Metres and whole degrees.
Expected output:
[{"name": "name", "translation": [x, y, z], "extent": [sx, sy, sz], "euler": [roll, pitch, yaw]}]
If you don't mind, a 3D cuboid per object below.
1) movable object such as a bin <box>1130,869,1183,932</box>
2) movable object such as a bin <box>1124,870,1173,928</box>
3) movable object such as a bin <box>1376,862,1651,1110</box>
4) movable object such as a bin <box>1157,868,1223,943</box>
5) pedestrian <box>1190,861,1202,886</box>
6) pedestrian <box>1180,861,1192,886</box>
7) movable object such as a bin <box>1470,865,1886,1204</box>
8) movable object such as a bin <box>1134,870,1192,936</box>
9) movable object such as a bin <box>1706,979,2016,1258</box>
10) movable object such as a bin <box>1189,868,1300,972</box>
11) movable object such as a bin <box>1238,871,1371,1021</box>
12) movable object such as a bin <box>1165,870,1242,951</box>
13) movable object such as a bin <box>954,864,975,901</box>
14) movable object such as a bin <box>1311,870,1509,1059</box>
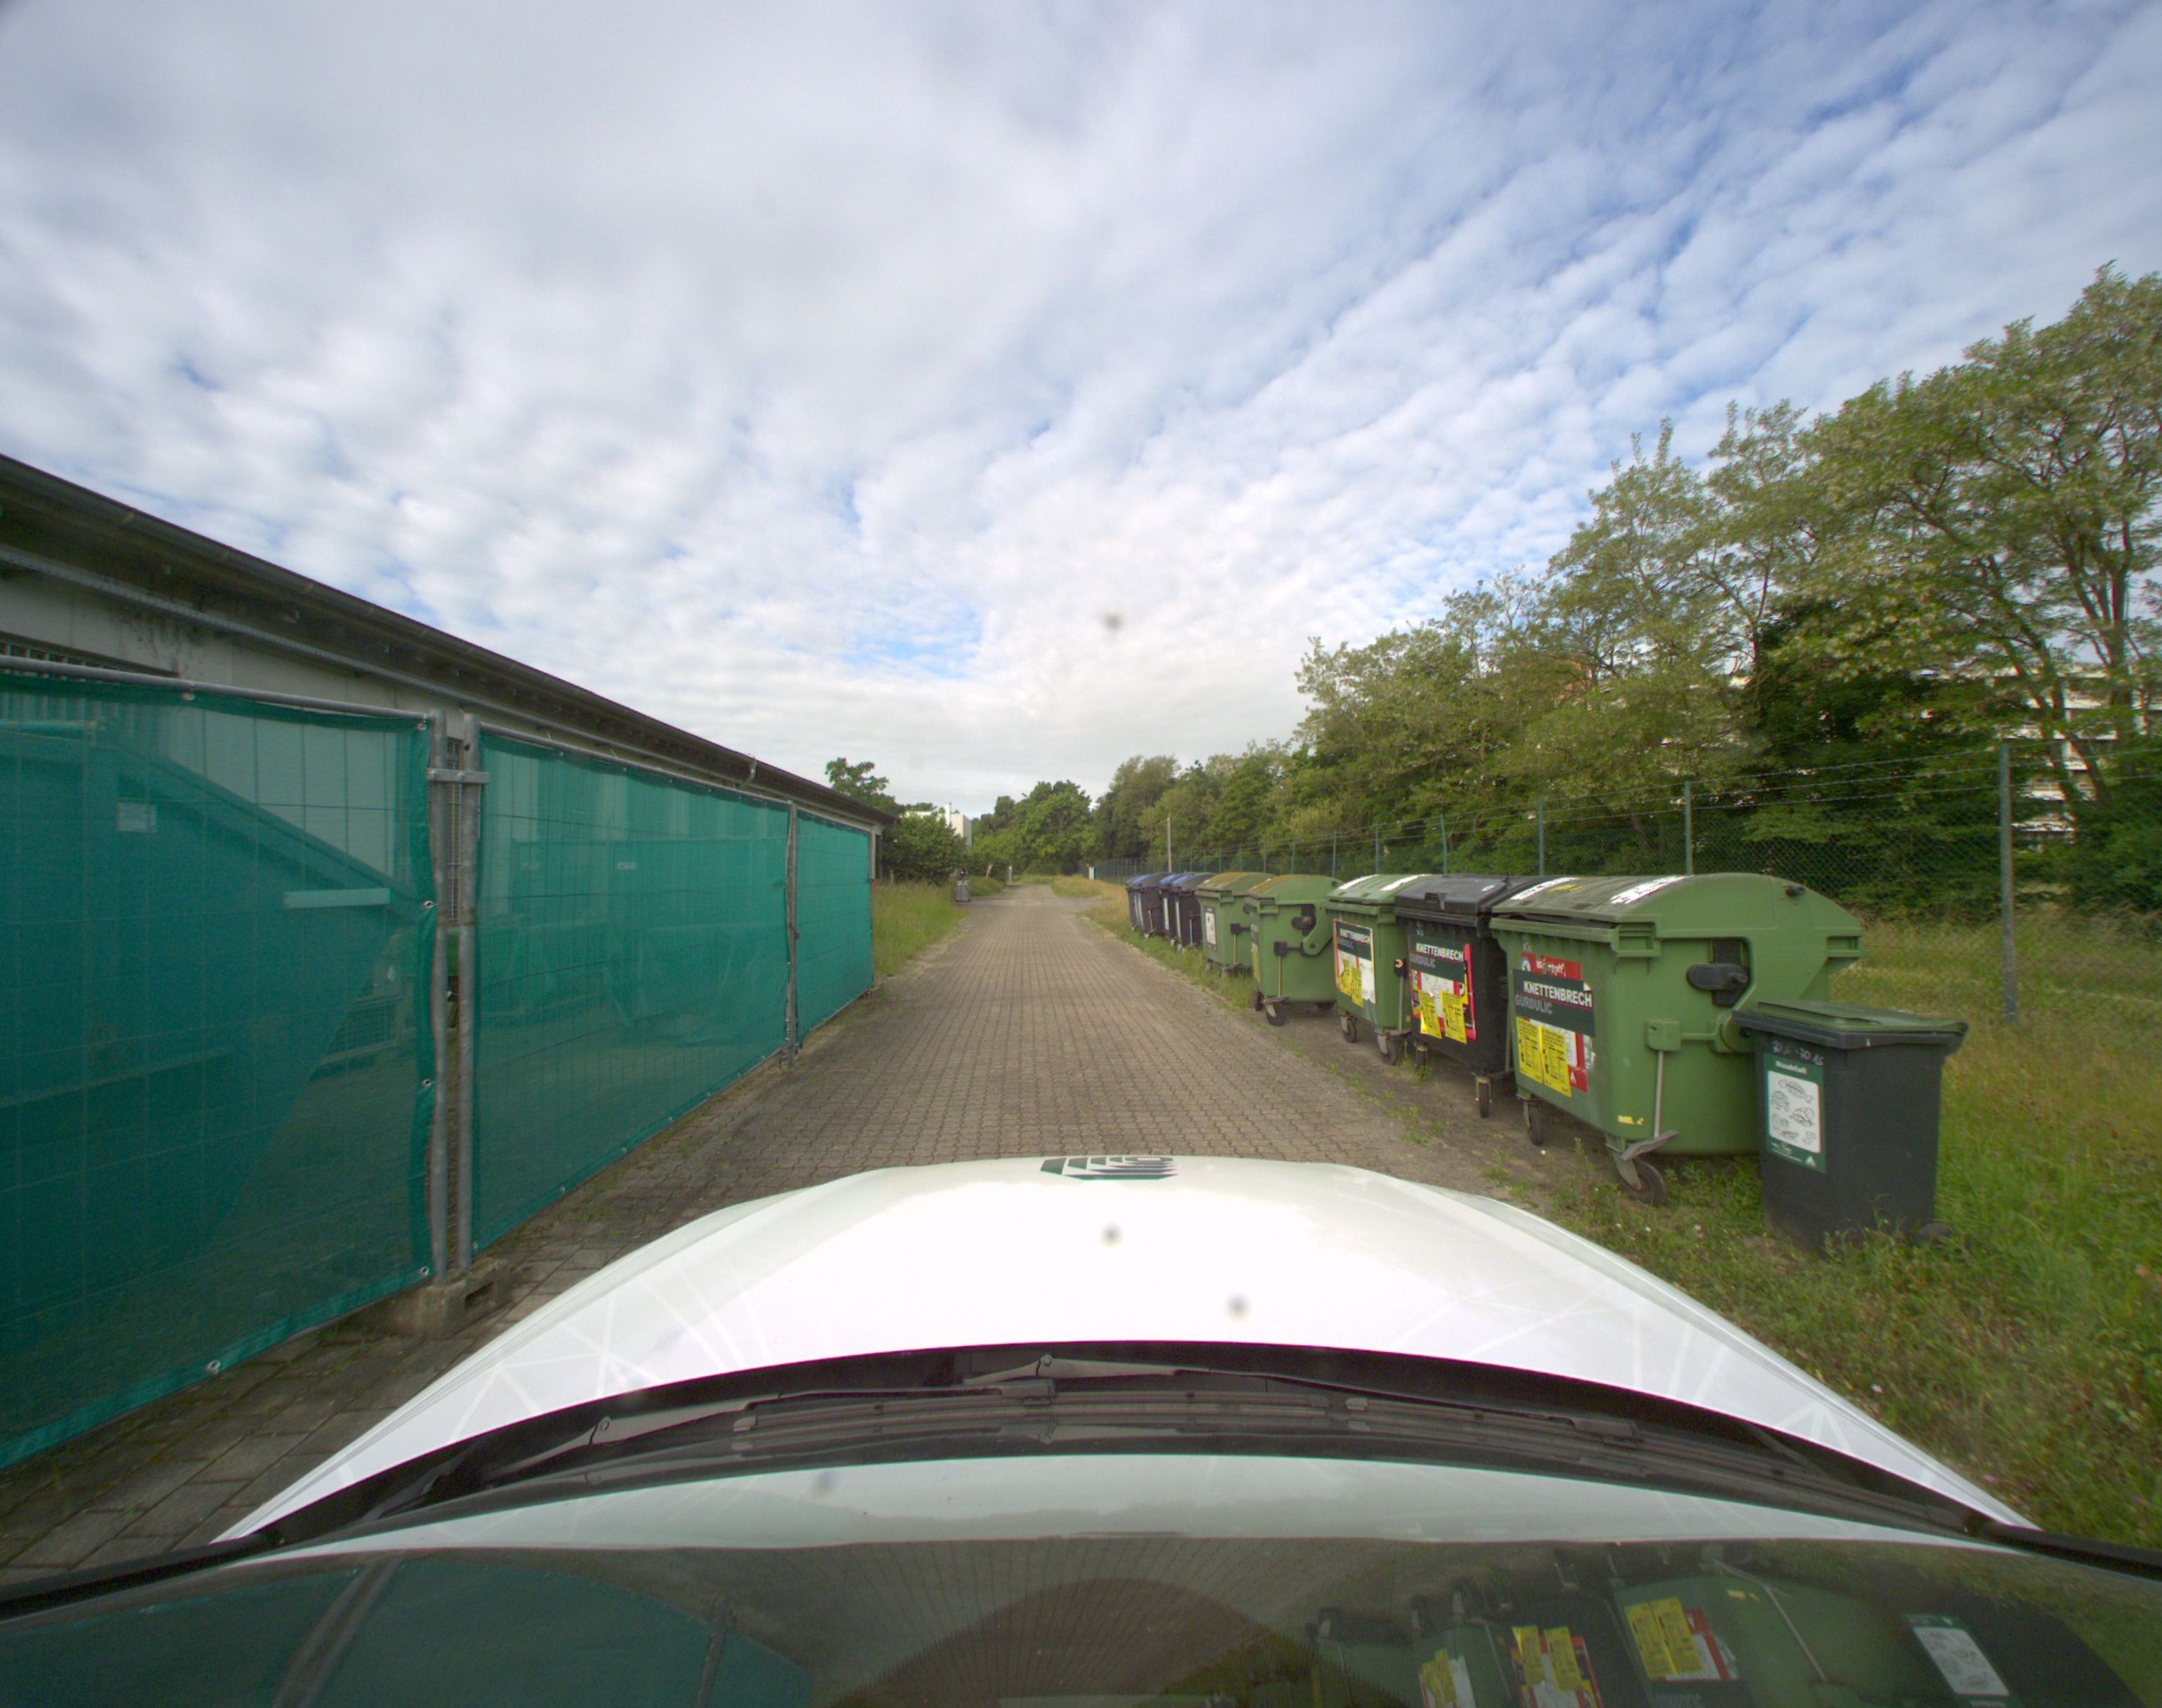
[{"name": "movable object such as a bin", "translation": [1.702, 1.035, 18.493], "extent": [1.118, 1.379, 1.325], "euler": [0, -2, 2]}, {"name": "movable object such as a bin", "translation": [1.628, 1.088, 19.910], "extent": [1.118, 1.351, 1.426], "euler": [0, -2, 2]}, {"name": "movable object such as a bin", "translation": [2.774, 0.787, 5.448], "extent": [1.066, 1.435, 1.397], "euler": [0, -2, -1]}, {"name": "movable object such as a bin", "translation": [2.070, 0.976, 15.711], "extent": [1.118, 1.374, 1.494], "euler": [0, -2, 2]}, {"name": "pedestrian", "translation": [9.385, 1.626, 66.550], "extent": [0.758, 2.014, 0.663], "euler": [-1, -1, -5]}, {"name": "pedestrian", "translation": [8.576, 1.613, 66.541], "extent": [0.758, 2.014, 0.663], "euler": [-1, -1, -5]}, {"name": "movable object such as a bin", "translation": [2.815, 0.769, 4.096], "extent": [1.123, 1.396, 1.358], "euler": [0, -2, 5]}, {"name": "movable object such as a bin", "translation": [1.702, 1.012, 17.189], "extent": [1.118, 1.321, 1.325], "euler": [-1, -1, 2]}, {"name": "movable object such as a bin", "translation": [2.894, 0.945, 3.086], "extent": [0.597, 0.866, 0.586], "euler": [0, -2, 4]}, {"name": "movable object such as a bin", "translation": [2.149, 0.850, 10.926], "extent": [1.121, 1.296, 1.377], "euler": [0, -2, -5]}, {"name": "movable object such as a bin", "translation": [2.223, 0.880, 8.332], "extent": [1.117, 1.398, 1.387], "euler": [0, -2, 7]}, {"name": "movable object such as a bin", "translation": [2.090, 0.948, 14.130], "extent": [1.150, 1.325, 1.494], "euler": [0, -2, 2]}, {"name": "movable object such as a bin", "translation": [-6.358, 1.549, 44.427], "extent": [0.931, 1.982, 0.854], "euler": [-1, -1, 4]}, {"name": "movable object such as a bin", "translation": [2.650, 0.842, 6.776], "extent": [1.066, 1.406, 1.384], "euler": [0, -2, -1]}]
